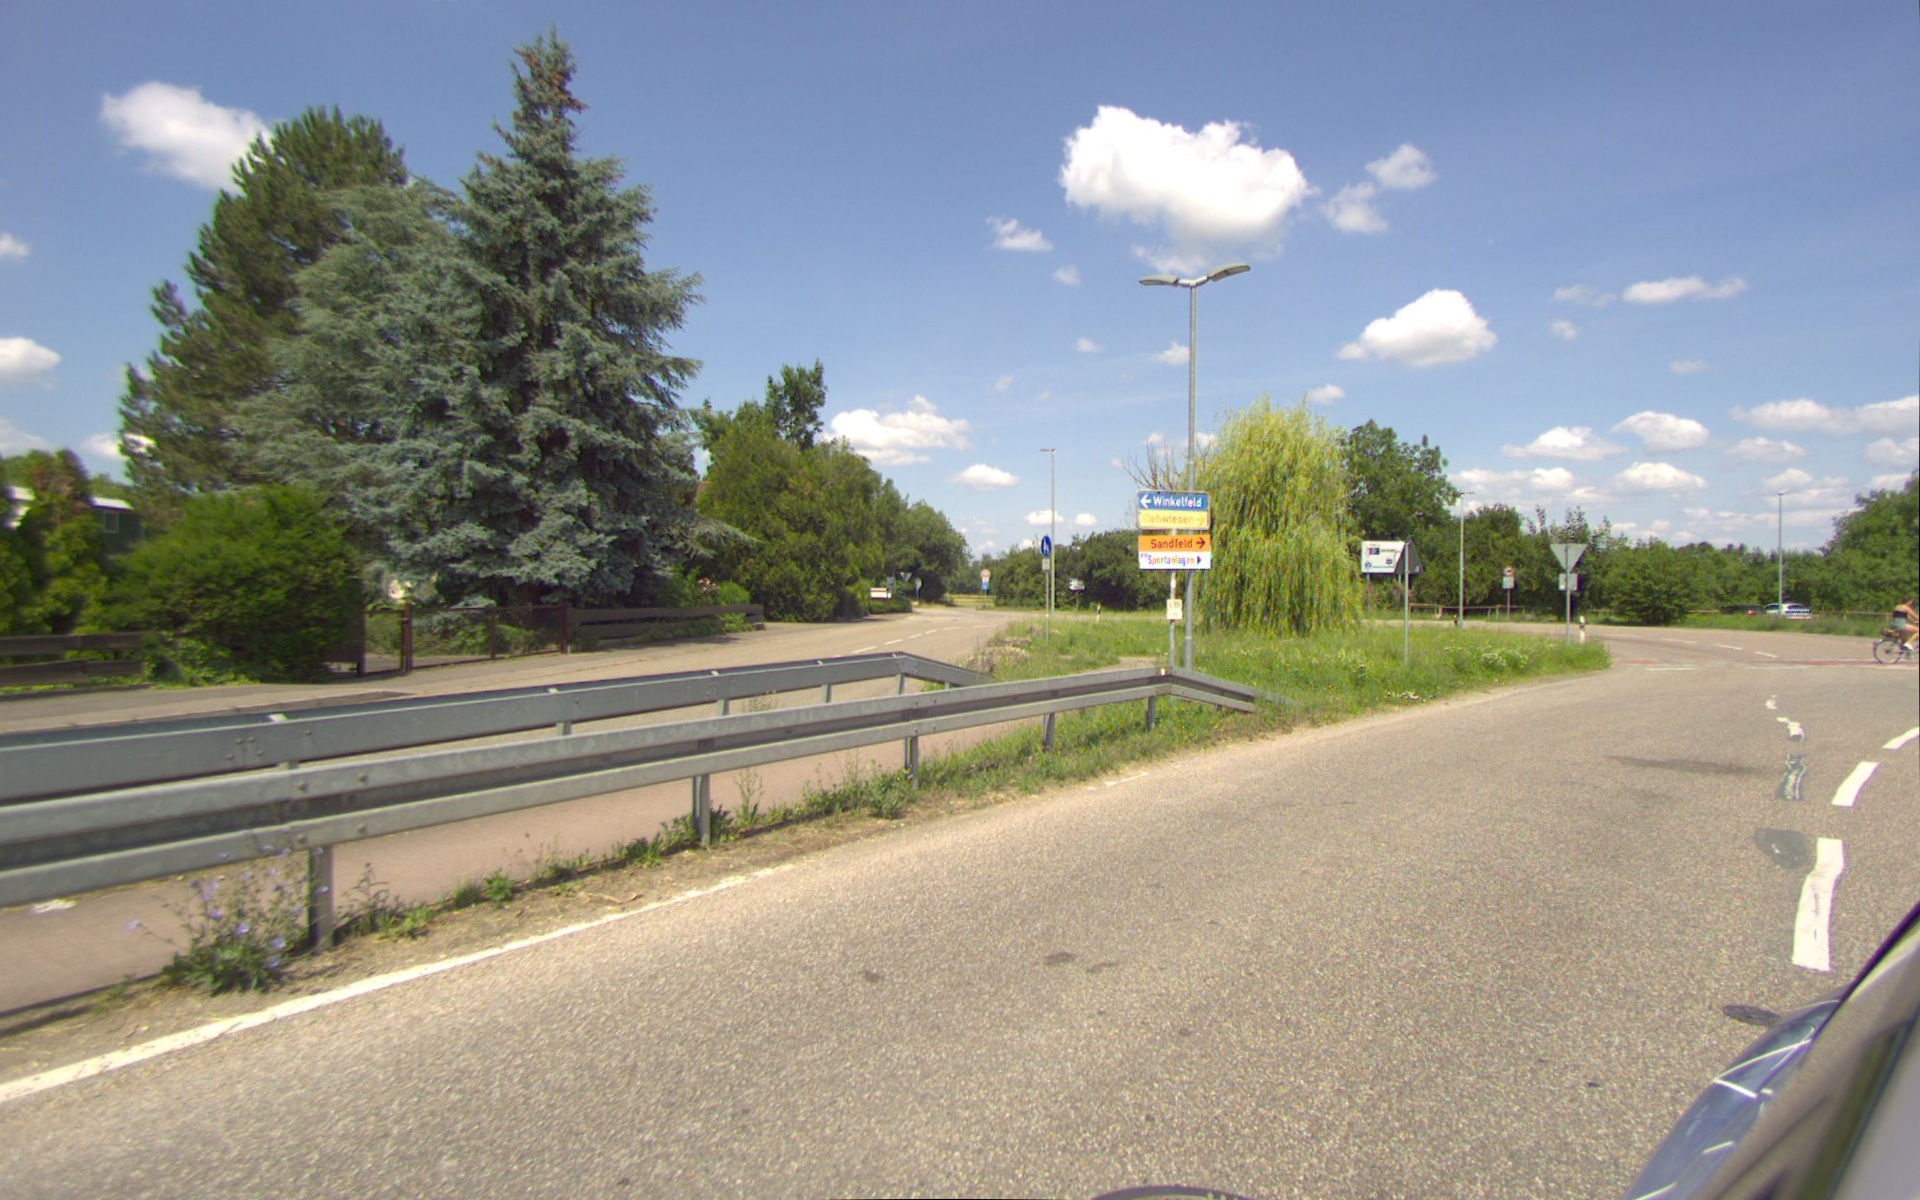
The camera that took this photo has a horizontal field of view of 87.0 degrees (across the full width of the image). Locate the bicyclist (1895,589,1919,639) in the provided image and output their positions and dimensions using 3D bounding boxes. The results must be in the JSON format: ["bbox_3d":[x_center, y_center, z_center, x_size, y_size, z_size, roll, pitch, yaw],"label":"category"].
[{"bbox_3d":[24.808,0.363,26.360,0.506,1.271,0.465,-1,-1,23],"label":"bicyclist"}]

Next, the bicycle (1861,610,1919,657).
[{"bbox_3d":[24.937,0.866,26.311,2.122,1.179,0.656,-1,-1,24],"label":"bicycle"}]

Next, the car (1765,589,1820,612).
[{"bbox_3d":[57.419,0.075,69.864,1.394,1.524,3.111,0,-1,7],"label":"car"}]

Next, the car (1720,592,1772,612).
[{"bbox_3d":[54.266,0.157,69.916,1.394,1.355,3.111,0,-1,7],"label":"car"}]
